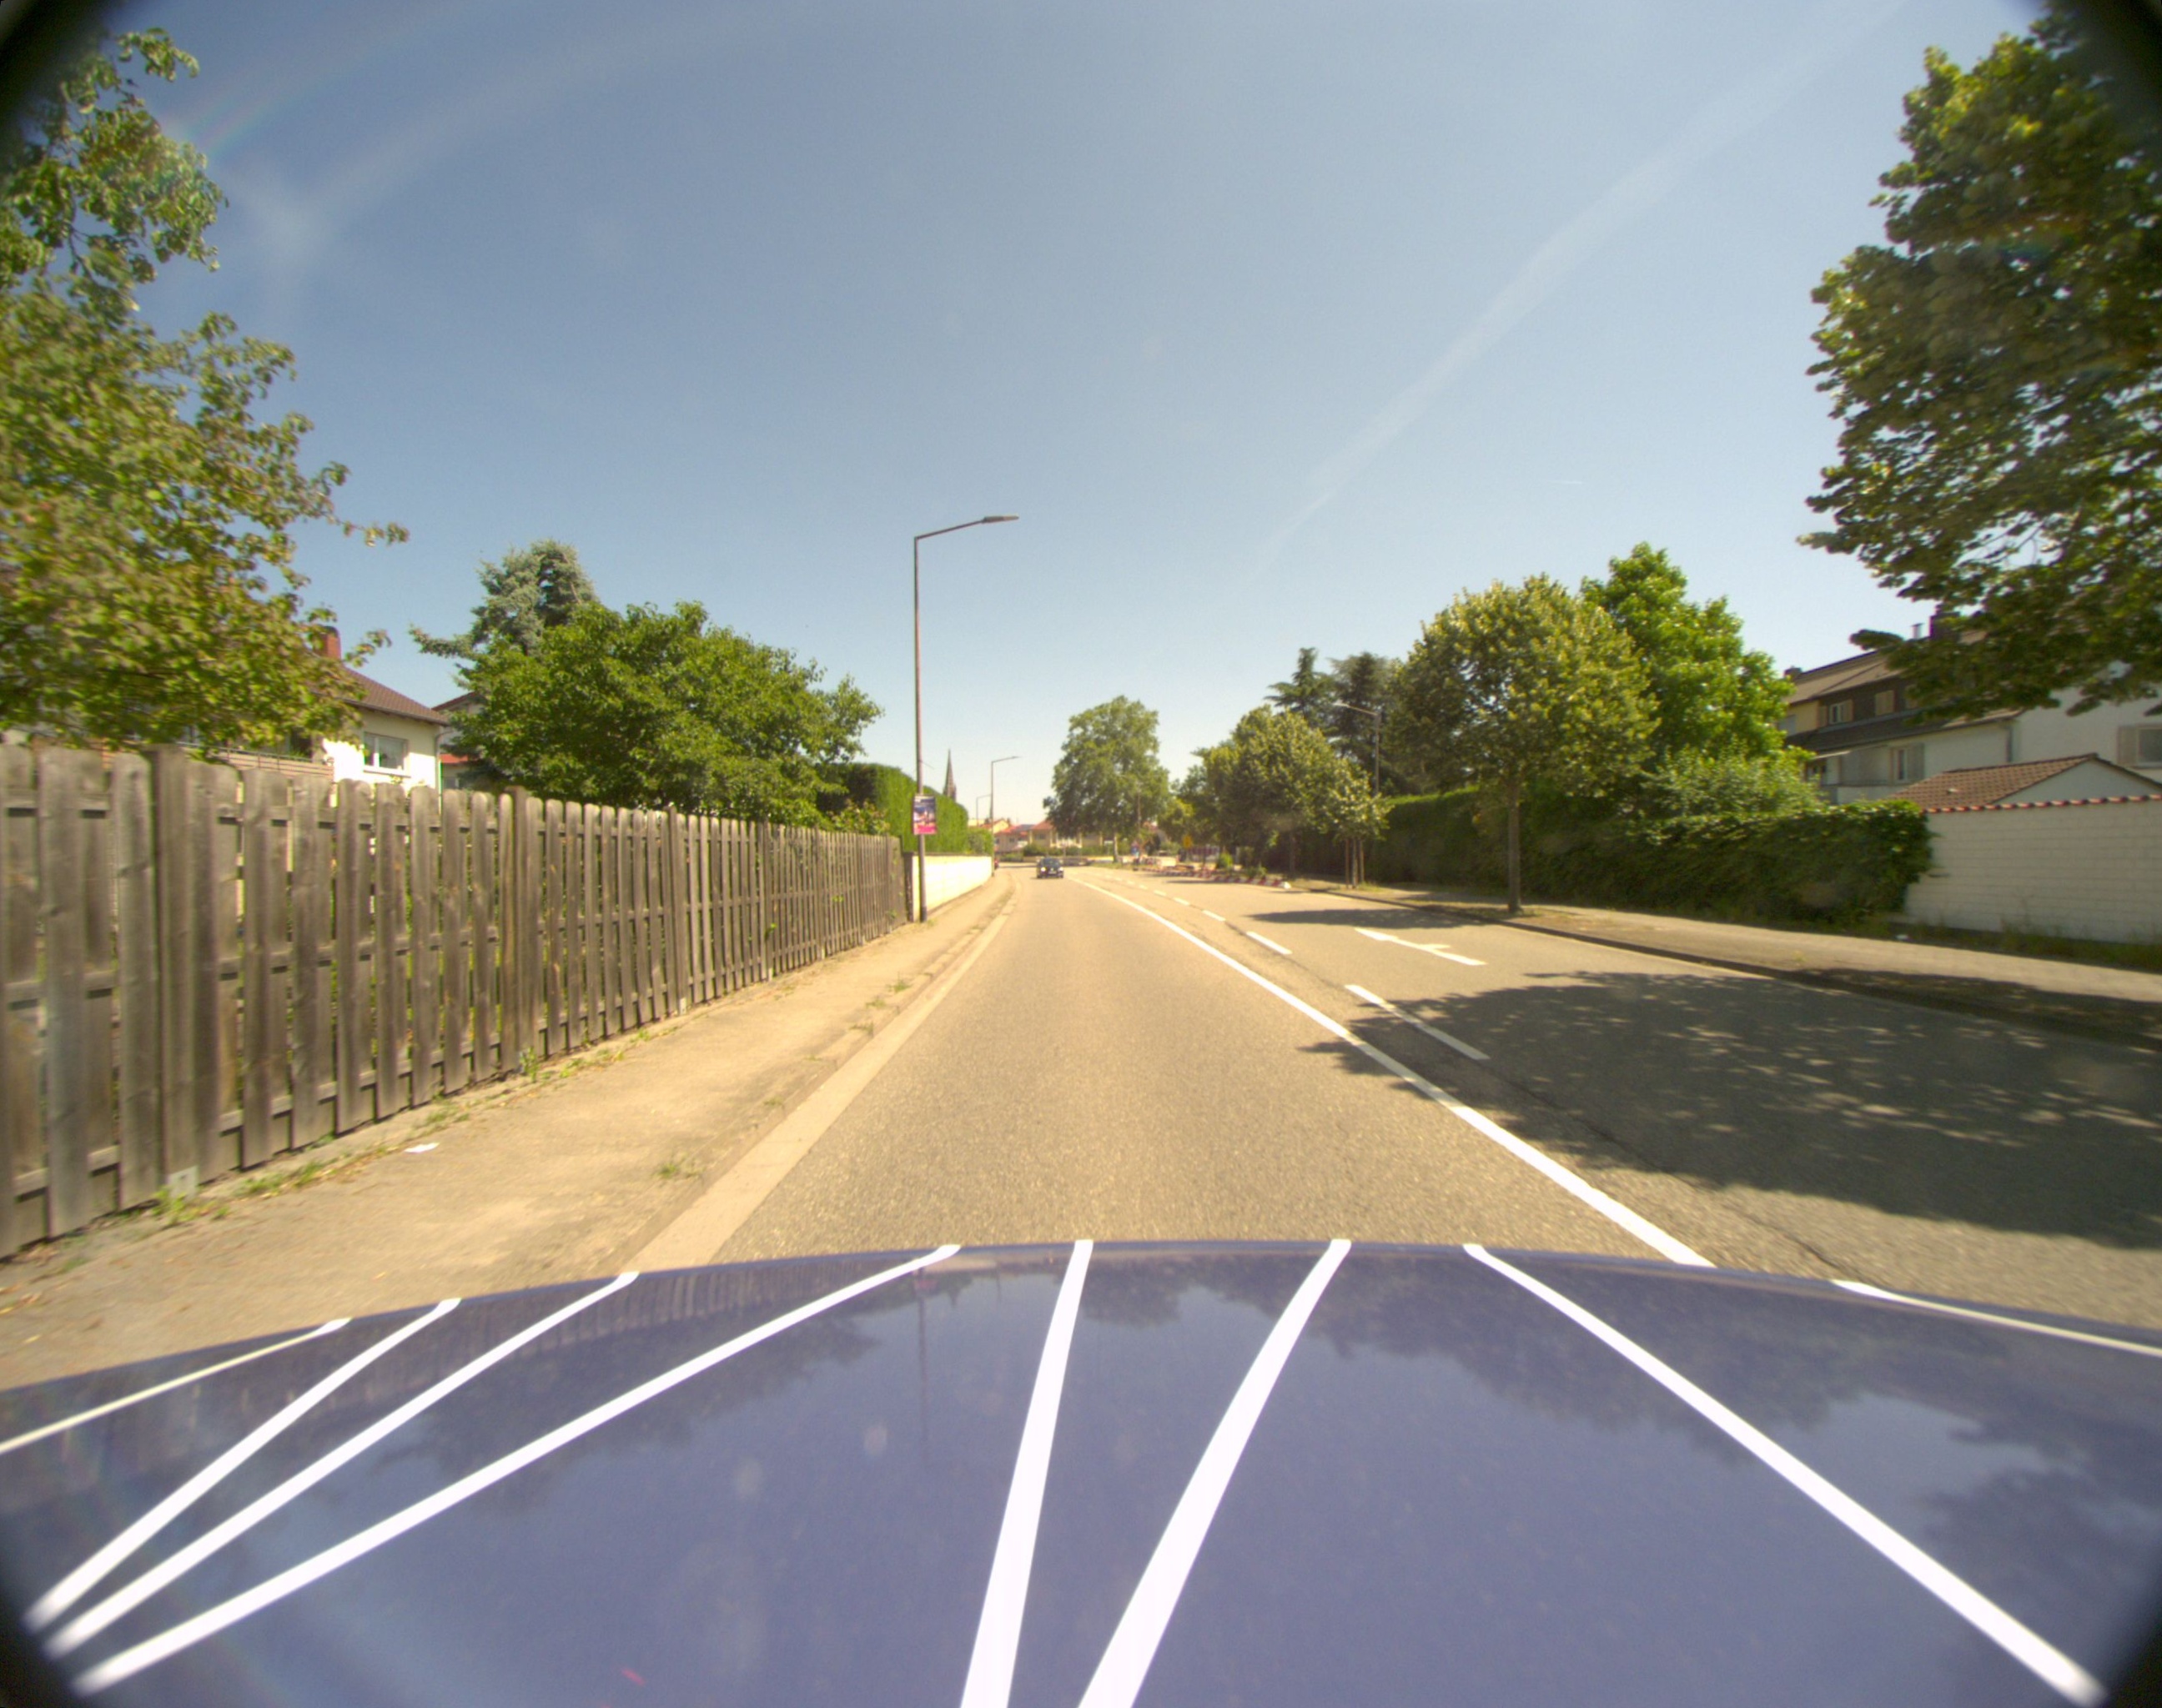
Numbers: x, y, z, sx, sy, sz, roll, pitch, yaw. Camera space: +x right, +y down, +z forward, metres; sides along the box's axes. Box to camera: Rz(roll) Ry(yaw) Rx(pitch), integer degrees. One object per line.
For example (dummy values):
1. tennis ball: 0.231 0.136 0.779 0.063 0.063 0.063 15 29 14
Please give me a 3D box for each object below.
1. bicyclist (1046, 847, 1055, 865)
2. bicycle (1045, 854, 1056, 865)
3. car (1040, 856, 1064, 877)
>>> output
1. bicyclist: -3.172 0.250 78.995 0.848 1.854 0.976 -1 -1 -9
2. bicycle: -3.168 0.570 78.991 0.853 1.159 1.975 -1 0 -9
3. car: -2.053 0.853 53.424 1.608 1.436 3.908 -1 0 -3
